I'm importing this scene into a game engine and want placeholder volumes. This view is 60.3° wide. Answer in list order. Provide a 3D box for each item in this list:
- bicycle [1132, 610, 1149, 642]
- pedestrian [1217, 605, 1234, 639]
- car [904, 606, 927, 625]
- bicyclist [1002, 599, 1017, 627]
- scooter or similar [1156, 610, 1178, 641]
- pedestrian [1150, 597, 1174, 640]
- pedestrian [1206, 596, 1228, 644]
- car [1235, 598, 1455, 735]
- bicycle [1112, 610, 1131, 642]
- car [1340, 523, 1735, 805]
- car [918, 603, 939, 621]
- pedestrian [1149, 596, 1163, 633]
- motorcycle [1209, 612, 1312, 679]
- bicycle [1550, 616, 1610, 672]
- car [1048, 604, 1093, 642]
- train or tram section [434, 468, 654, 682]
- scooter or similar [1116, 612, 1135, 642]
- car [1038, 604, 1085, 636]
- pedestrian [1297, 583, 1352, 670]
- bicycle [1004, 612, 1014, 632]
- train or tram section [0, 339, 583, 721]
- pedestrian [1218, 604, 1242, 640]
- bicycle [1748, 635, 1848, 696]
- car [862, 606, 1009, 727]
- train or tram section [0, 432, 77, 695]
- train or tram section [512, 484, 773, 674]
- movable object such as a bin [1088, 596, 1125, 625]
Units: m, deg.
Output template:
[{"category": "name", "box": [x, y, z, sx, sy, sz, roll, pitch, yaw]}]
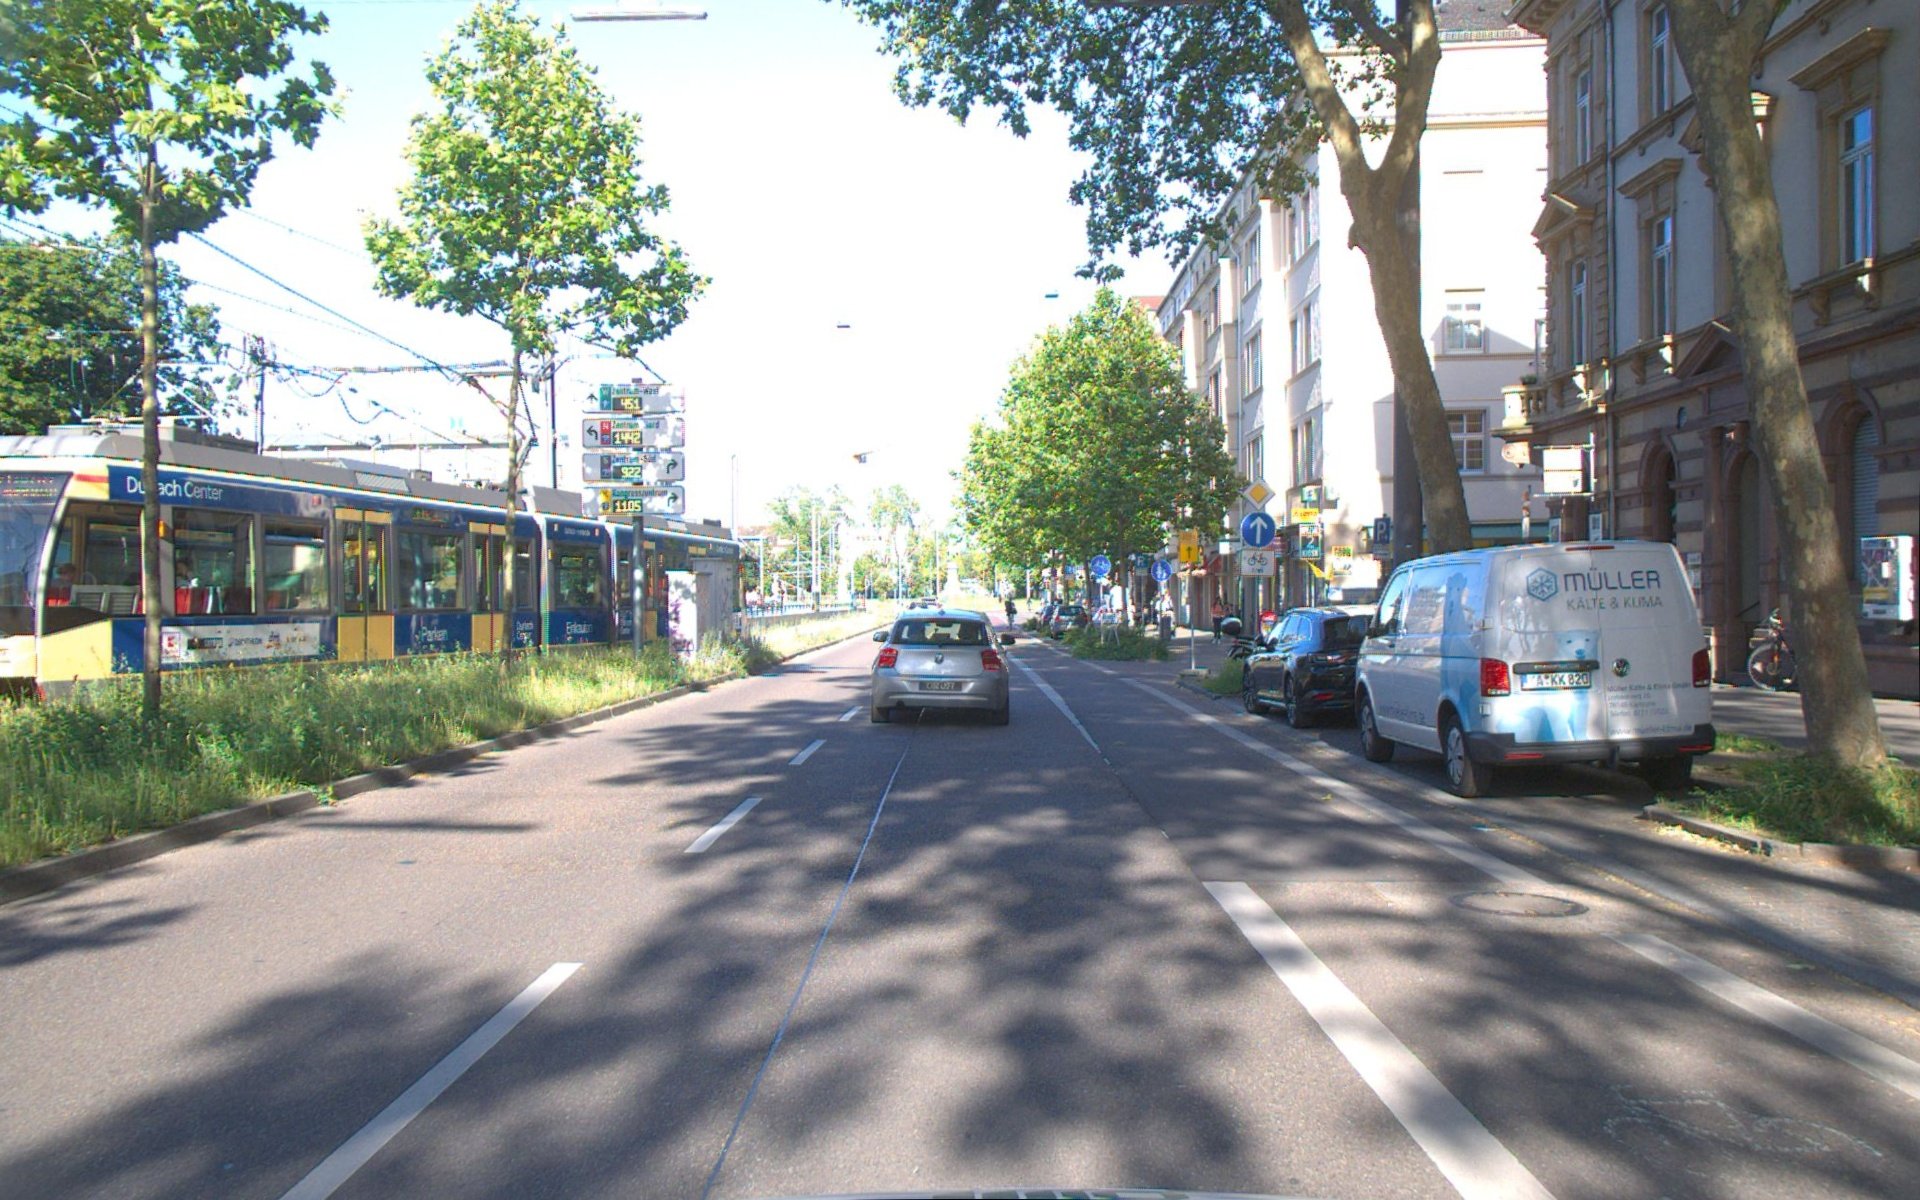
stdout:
[{"category": "bicycle", "box": [7.195, 1.016, 65.757, 0.377, 1.228, 1.874, 0, 0, 15]}, {"category": "pedestrian", "box": [10.704, 0.868, 66.648, 0.524, 1.356, 0.820, -1, -1, 1]}, {"category": "car", "box": [-3.478, 1.201, 129.083, 1.692, 1.496, 4.408, 0, 0, -2]}, {"category": "bicyclist", "box": [2.747, 0.729, 92.558, 0.769, 1.558, 0.895, 1, -2, 0]}, {"category": "scooter or similar", "box": [8.304, 1.014, 66.319, 0.729, 1.192, 0.848, -1, 0, -3]}, {"category": "pedestrian", "box": [8.240, 0.736, 67.463, 0.841, 1.734, 0.916, 0, -1, -2]}, {"category": "pedestrian", "box": [8.909, 0.688, 57.313, 0.668, 1.650, 0.562, 0, -1, -3]}, {"category": "car", "box": [4.902, 0.793, 21.718, 1.781, 1.541, 4.708, -2, 0, 0]}, {"category": "bicycle", "box": [6.331, 1.038, 64.863, 0.384, 1.236, 1.901, -1, -1, -4]}, {"category": "car", "box": [4.824, 0.487, 14.625, 1.818, 2.049, 4.723, 1, 0, 0]}, {"category": "car", "box": [-2.625, 1.005, 137.241, 1.611, 1.446, 4.000, 1, 0, 0]}, {"category": "pedestrian", "box": [9.218, 0.675, 77.828, 0.546, 1.741, 0.770, 0, 0, 0]}, {"category": "motorcycle", "box": [5.898, 0.887, 32.477, 1.910, 1.252, 0.515, 2, -1, -3]}, {"category": "bicycle", "box": [11.529, 0.805, 30.797, 0.406, 1.015, 1.882, 0, 0, 0]}, {"category": "car", "box": [4.875, 1.012, 73.448, 1.660, 1.528, 3.801, -3, 0, 0]}, {"category": "train or tram section", "box": [-8.201, -0.468, 33.061, 2.892, 3.965, 3.869, 1, 0, 9]}, {"category": "scooter or similar", "box": [6.706, 1.085, 66.873, 0.371, 1.217, 1.575, -1, 0, 20]}, {"category": "car", "box": [4.944, 0.958, 81.039, 1.997, 1.535, 4.593, 0, 0, 0]}, {"category": "pedestrian", "box": [8.764, 0.630, 39.842, 1.065, 2.049, 1.046, 1, -1, 1]}, {"category": "bicycle", "box": [2.750, 1.209, 92.465, 0.489, 1.107, 1.997, 1, 0, 0]}, {"category": "train or tram section", "box": [-9.671, -0.676, 24.065, 2.866, 3.879, 14.285, 1, 0, 9]}, {"category": "pedestrian", "box": [10.733, 0.867, 65.764, 0.769, 1.393, 0.857, -1, -1, 0]}, {"category": "bicycle", "box": [11.809, 0.909, 23.359, 0.537, 0.787, 1.662, -2, 0, 0]}, {"category": "car", "box": [-0.281, 0.803, 21.907, 1.761, 1.439, 4.000, 0, 0, 0]}, {"category": "train or tram section", "box": [-14.341, -0.508, 21.187, 2.896, 3.544, 6.057, 1, 0, -2]}, {"category": "train or tram section", "box": [-7.346, -0.406, 40.397, 2.890, 3.965, 10.810, 1, 0, 8]}, {"category": "movable object such as a bin", "box": [9.767, 0.673, 110.464, 1.907, 1.875, 3.476, -1, 1, -6]}]
